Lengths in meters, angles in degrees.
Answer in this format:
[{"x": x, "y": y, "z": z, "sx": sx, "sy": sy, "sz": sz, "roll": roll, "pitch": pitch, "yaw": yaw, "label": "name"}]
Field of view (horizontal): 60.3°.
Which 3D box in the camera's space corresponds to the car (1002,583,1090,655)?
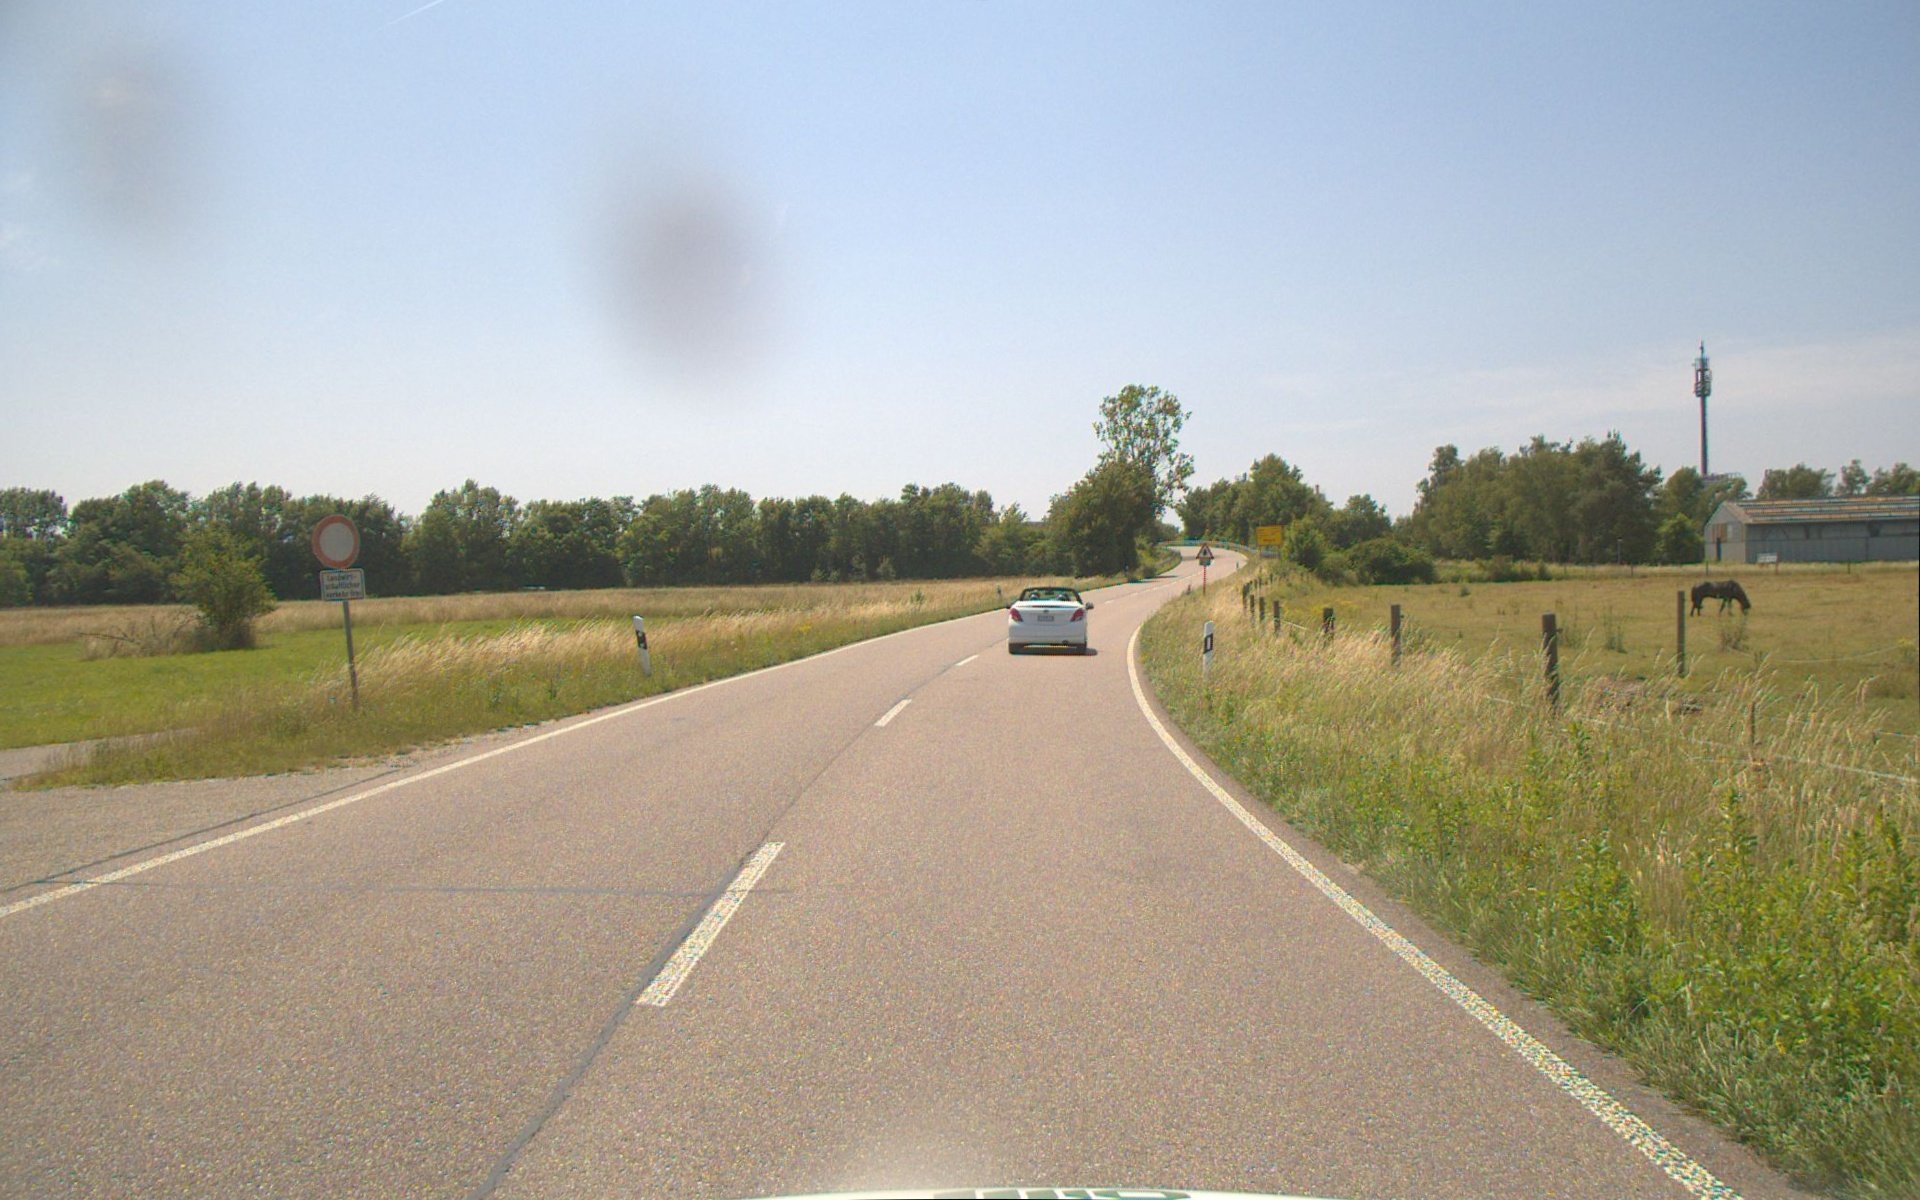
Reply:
[{"x": 1.908, "y": 0.379, "z": 36.210, "sx": 1.812, "sy": 1.403, "sz": 4.002, "roll": 0, "pitch": 2, "yaw": 4, "label": "car"}]
